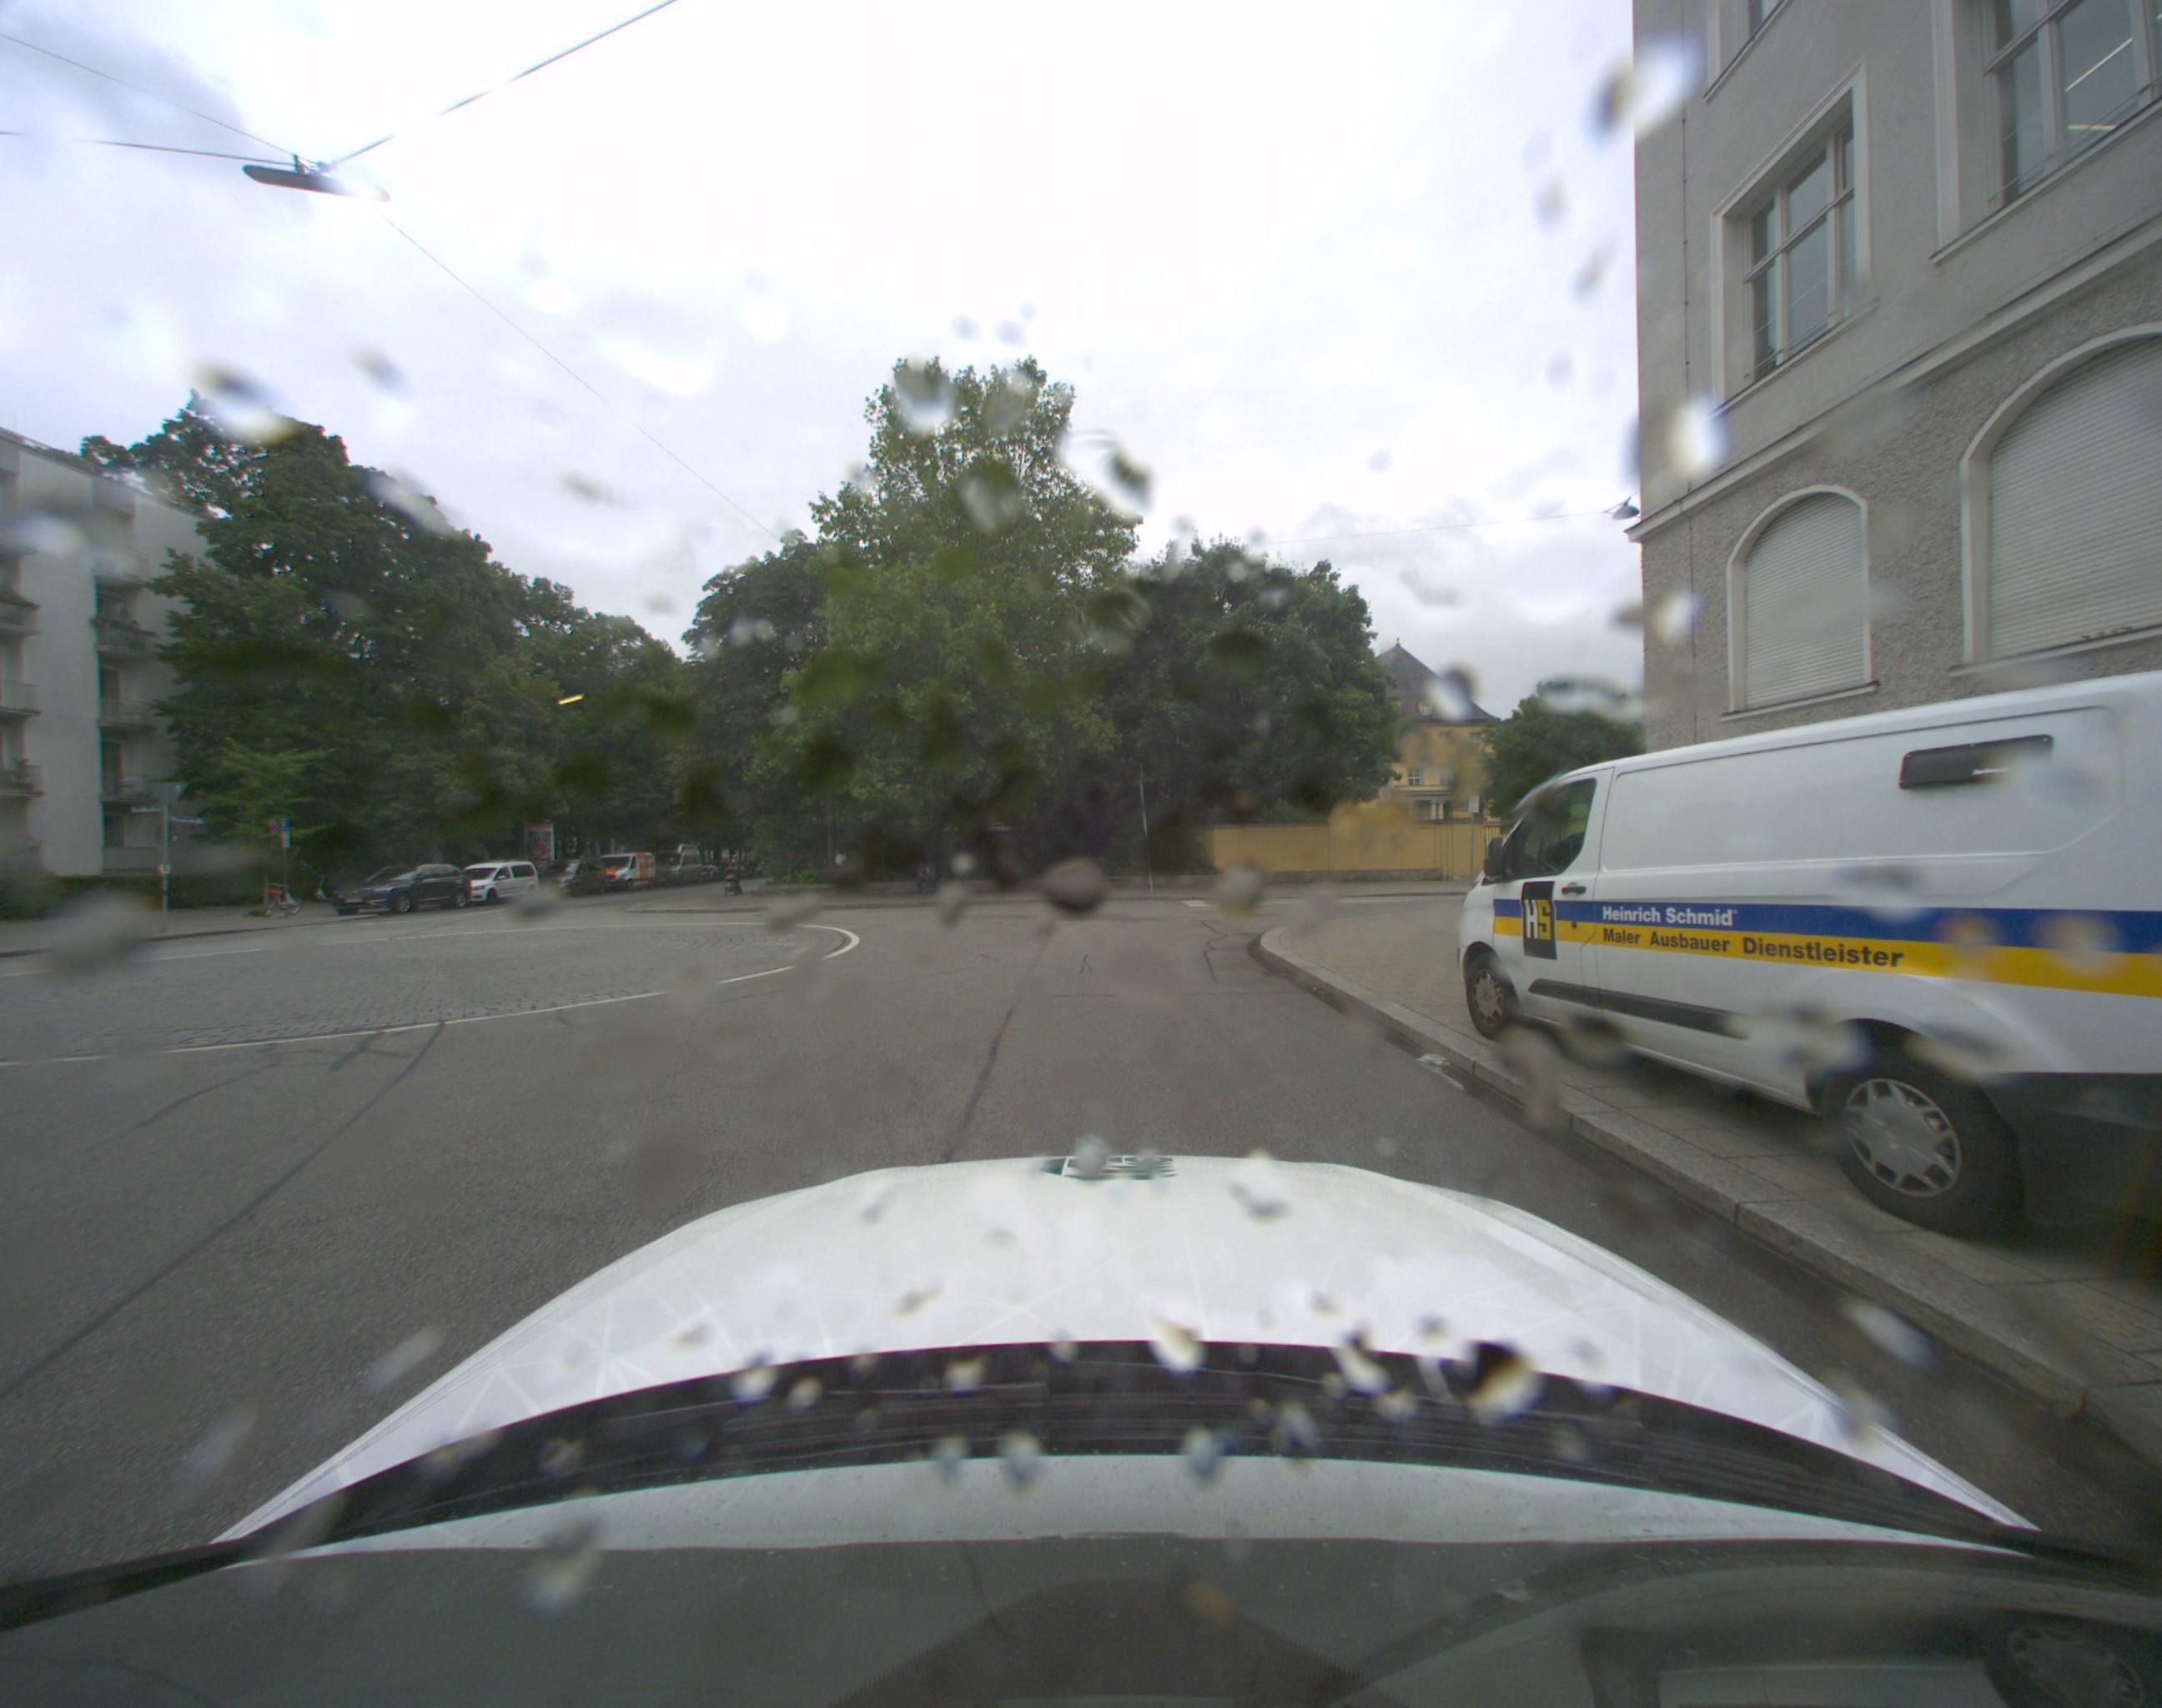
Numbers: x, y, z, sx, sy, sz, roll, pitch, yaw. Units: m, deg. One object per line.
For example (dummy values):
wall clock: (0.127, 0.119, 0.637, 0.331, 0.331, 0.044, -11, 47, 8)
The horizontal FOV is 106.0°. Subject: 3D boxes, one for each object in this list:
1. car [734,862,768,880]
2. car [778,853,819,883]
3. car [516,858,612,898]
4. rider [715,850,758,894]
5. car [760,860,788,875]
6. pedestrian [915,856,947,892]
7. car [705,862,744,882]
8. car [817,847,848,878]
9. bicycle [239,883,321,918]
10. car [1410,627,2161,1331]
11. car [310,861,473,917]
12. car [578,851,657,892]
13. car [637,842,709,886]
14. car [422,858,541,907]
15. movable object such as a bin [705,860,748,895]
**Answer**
car: (-31.235, 1.628, 77.155, 1.894, 1.571, 4.064, -1, 0, -7)
car: (-19.490, 0.943, 56.287, 2.043, 1.922, 4.428, -1, 0, -12)
car: (-26.219, 1.160, 41.523, 2.062, 1.859, 4.976, -1, 0, -6)
rider: (-13.978, 0.716, 33.044, 1.076, 1.667, 1.141, -4, 0, 6)
car: (-33.250, 1.449, 88.314, 1.894, 1.571, 4.064, -1, 0, -7)
pedestrian: (-5.010, 0.658, 27.195, 0.808, 1.189, 0.920, -1, 0, 5)
car: (-30.008, 1.472, 68.691, 1.894, 1.538, 4.064, -1, 0, -7)
car: (-21.874, 0.713, 71.836, 2.042, 2.558, 5.228, -1, 0, -11)
bicycle: (-26.997, 1.558, 27.497, 0.909, 1.051, 1.968, -1, 0, -5)
car: (3.874, 0.305, 4.516, 1.911, 1.962, 4.923, -2, 0, -2)
car: (-24.775, 1.192, 29.555, 2.062, 1.767, 4.897, -1, 0, -6)
car: (-27.488, 1.008, 48.538, 2.108, 2.251, 5.184, -1, 0, -6)
car: (-28.775, 0.671, 57.728, 2.332, 2.922, 6.565, -1, 0, -6)
car: (-25.518, 1.148, 34.935, 1.924, 1.894, 4.855, -1, 0, -7)
movable object such as a bin: (-14.051, 0.916, 32.299, 1.072, 1.267, 1.089, -4, 0, 6)
